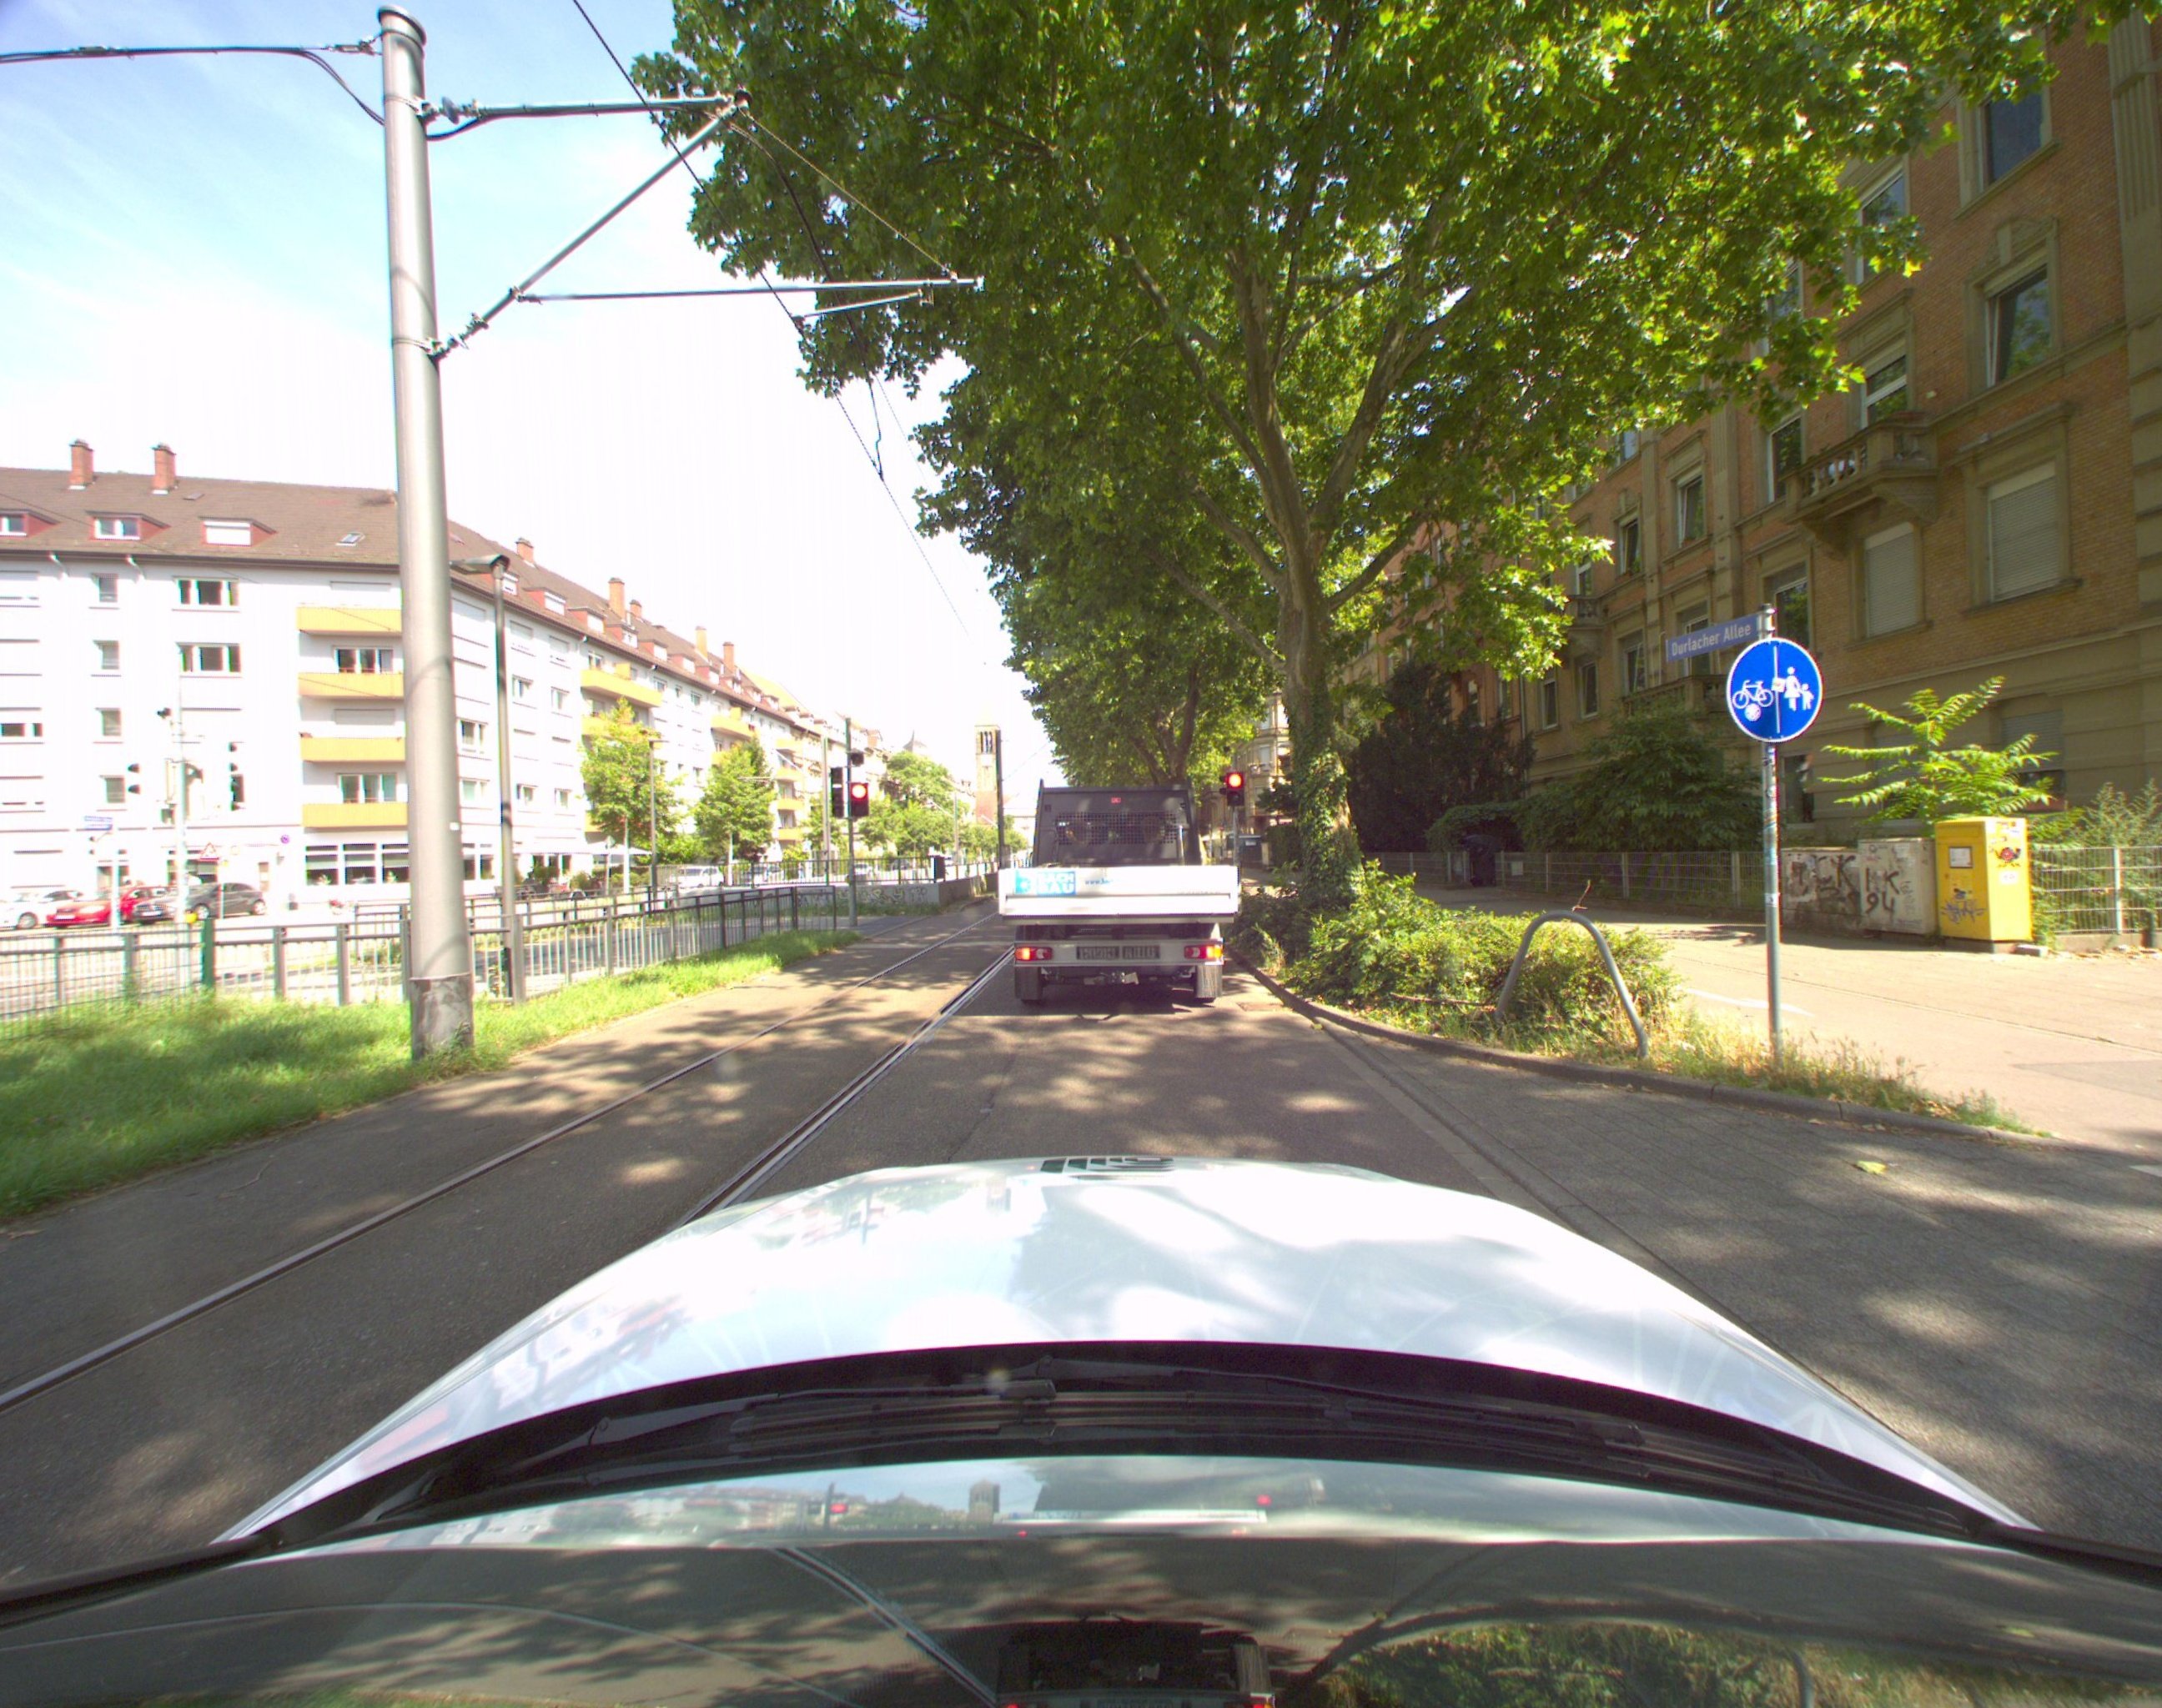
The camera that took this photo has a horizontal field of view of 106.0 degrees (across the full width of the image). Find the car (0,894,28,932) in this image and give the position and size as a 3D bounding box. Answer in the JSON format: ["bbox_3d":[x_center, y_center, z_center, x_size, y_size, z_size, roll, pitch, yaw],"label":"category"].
[{"bbox_3d":[-41.840,2.283,29.573,1.930,1.406,4.158,-2,0,-6],"label":"car"}]

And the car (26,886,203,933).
[{"bbox_3d":[-36.501,2.045,30.946,1.930,1.406,4.158,-2,0,-6],"label":"car"}]

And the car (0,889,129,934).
[{"bbox_3d":[-39.288,2.147,30.777,1.930,1.406,4.158,-2,0,-6],"label":"car"}]

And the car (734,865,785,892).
[{"bbox_3d":[-20.298,1.539,51.540,1.767,1.498,3.994,-3,0,-4],"label":"car"}]

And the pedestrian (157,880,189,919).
[{"bbox_3d":[-37.756,1.896,33.861,0.690,1.572,0.542,-2,0,-22],"label":"pedestrian"}]

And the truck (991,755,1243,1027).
[{"bbox_3d":[0.413,0.321,9.270,2.130,2.319,4.404,-1,0,3],"label":"truck"}]

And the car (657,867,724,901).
[{"bbox_3d":[-20.515,1.544,42.959,1.767,1.498,3.994,-3,0,-4],"label":"car"}]

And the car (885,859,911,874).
[{"bbox_3d":[-19.444,1.329,86.550,1.764,1.498,4.000,-2,0,0],"label":"car"}]

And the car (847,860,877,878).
[{"bbox_3d":[-19.572,1.333,72.906,1.767,1.498,3.994,-2,0,-4],"label":"car"}]

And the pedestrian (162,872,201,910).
[{"bbox_3d":[-38.061,1.556,34.479,0.861,1.572,0.685,-2,0,-22],"label":"pedestrian"}]

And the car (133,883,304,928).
[{"bbox_3d":[-33.143,1.931,31.519,1.830,1.376,4.637,-2,0,-4],"label":"car"}]

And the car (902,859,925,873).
[{"bbox_3d":[-19.364,1.326,94.391,1.764,1.498,4.000,-2,0,0],"label":"car"}]

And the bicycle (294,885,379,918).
[{"bbox_3d":[-30.079,1.900,32.984,0.908,1.137,2.807,-2,0,-1],"label":"bicycle"}]
